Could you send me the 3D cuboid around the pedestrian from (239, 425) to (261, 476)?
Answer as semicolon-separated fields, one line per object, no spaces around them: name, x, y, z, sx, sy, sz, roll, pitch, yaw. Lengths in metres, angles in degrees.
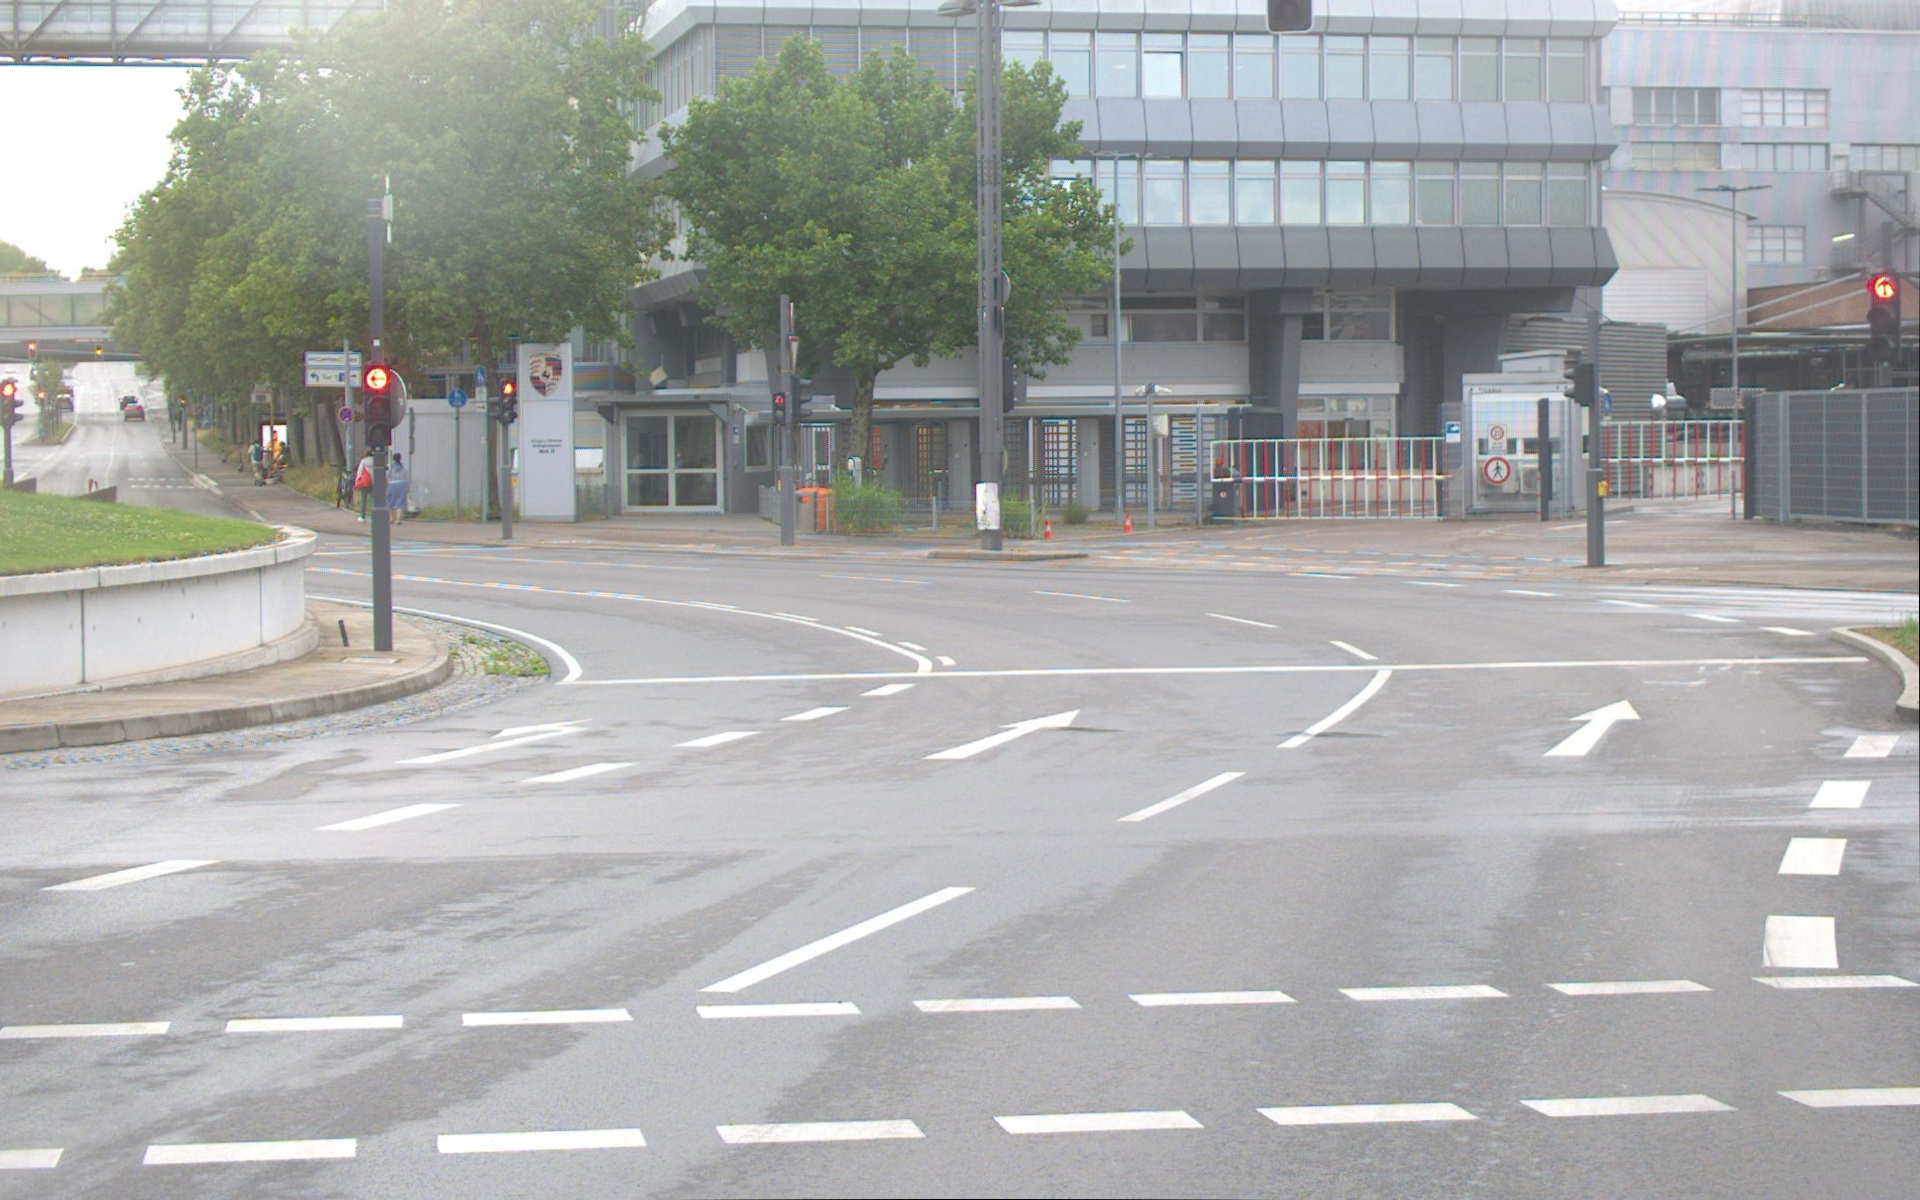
pedestrian;-24.719;-5.199;119.651;0.711;1.734;0.760;1;0;-14

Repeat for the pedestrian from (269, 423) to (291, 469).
pedestrian;-25.794;-5.836;130.442;0.757;1.734;0.714;1;0;-10

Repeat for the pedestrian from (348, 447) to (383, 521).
pedestrian;-12.905;-2.520;74.602;0.709;1.586;0.841;-1;3;-9

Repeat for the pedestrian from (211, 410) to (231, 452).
pedestrian;-35.658;-8.154;165.950;0.765;2.006;0.692;0;2;3

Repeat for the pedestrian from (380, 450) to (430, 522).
pedestrian;-11.946;-2.458;73.988;0.831;1.515;0.842;-2;3;-24
